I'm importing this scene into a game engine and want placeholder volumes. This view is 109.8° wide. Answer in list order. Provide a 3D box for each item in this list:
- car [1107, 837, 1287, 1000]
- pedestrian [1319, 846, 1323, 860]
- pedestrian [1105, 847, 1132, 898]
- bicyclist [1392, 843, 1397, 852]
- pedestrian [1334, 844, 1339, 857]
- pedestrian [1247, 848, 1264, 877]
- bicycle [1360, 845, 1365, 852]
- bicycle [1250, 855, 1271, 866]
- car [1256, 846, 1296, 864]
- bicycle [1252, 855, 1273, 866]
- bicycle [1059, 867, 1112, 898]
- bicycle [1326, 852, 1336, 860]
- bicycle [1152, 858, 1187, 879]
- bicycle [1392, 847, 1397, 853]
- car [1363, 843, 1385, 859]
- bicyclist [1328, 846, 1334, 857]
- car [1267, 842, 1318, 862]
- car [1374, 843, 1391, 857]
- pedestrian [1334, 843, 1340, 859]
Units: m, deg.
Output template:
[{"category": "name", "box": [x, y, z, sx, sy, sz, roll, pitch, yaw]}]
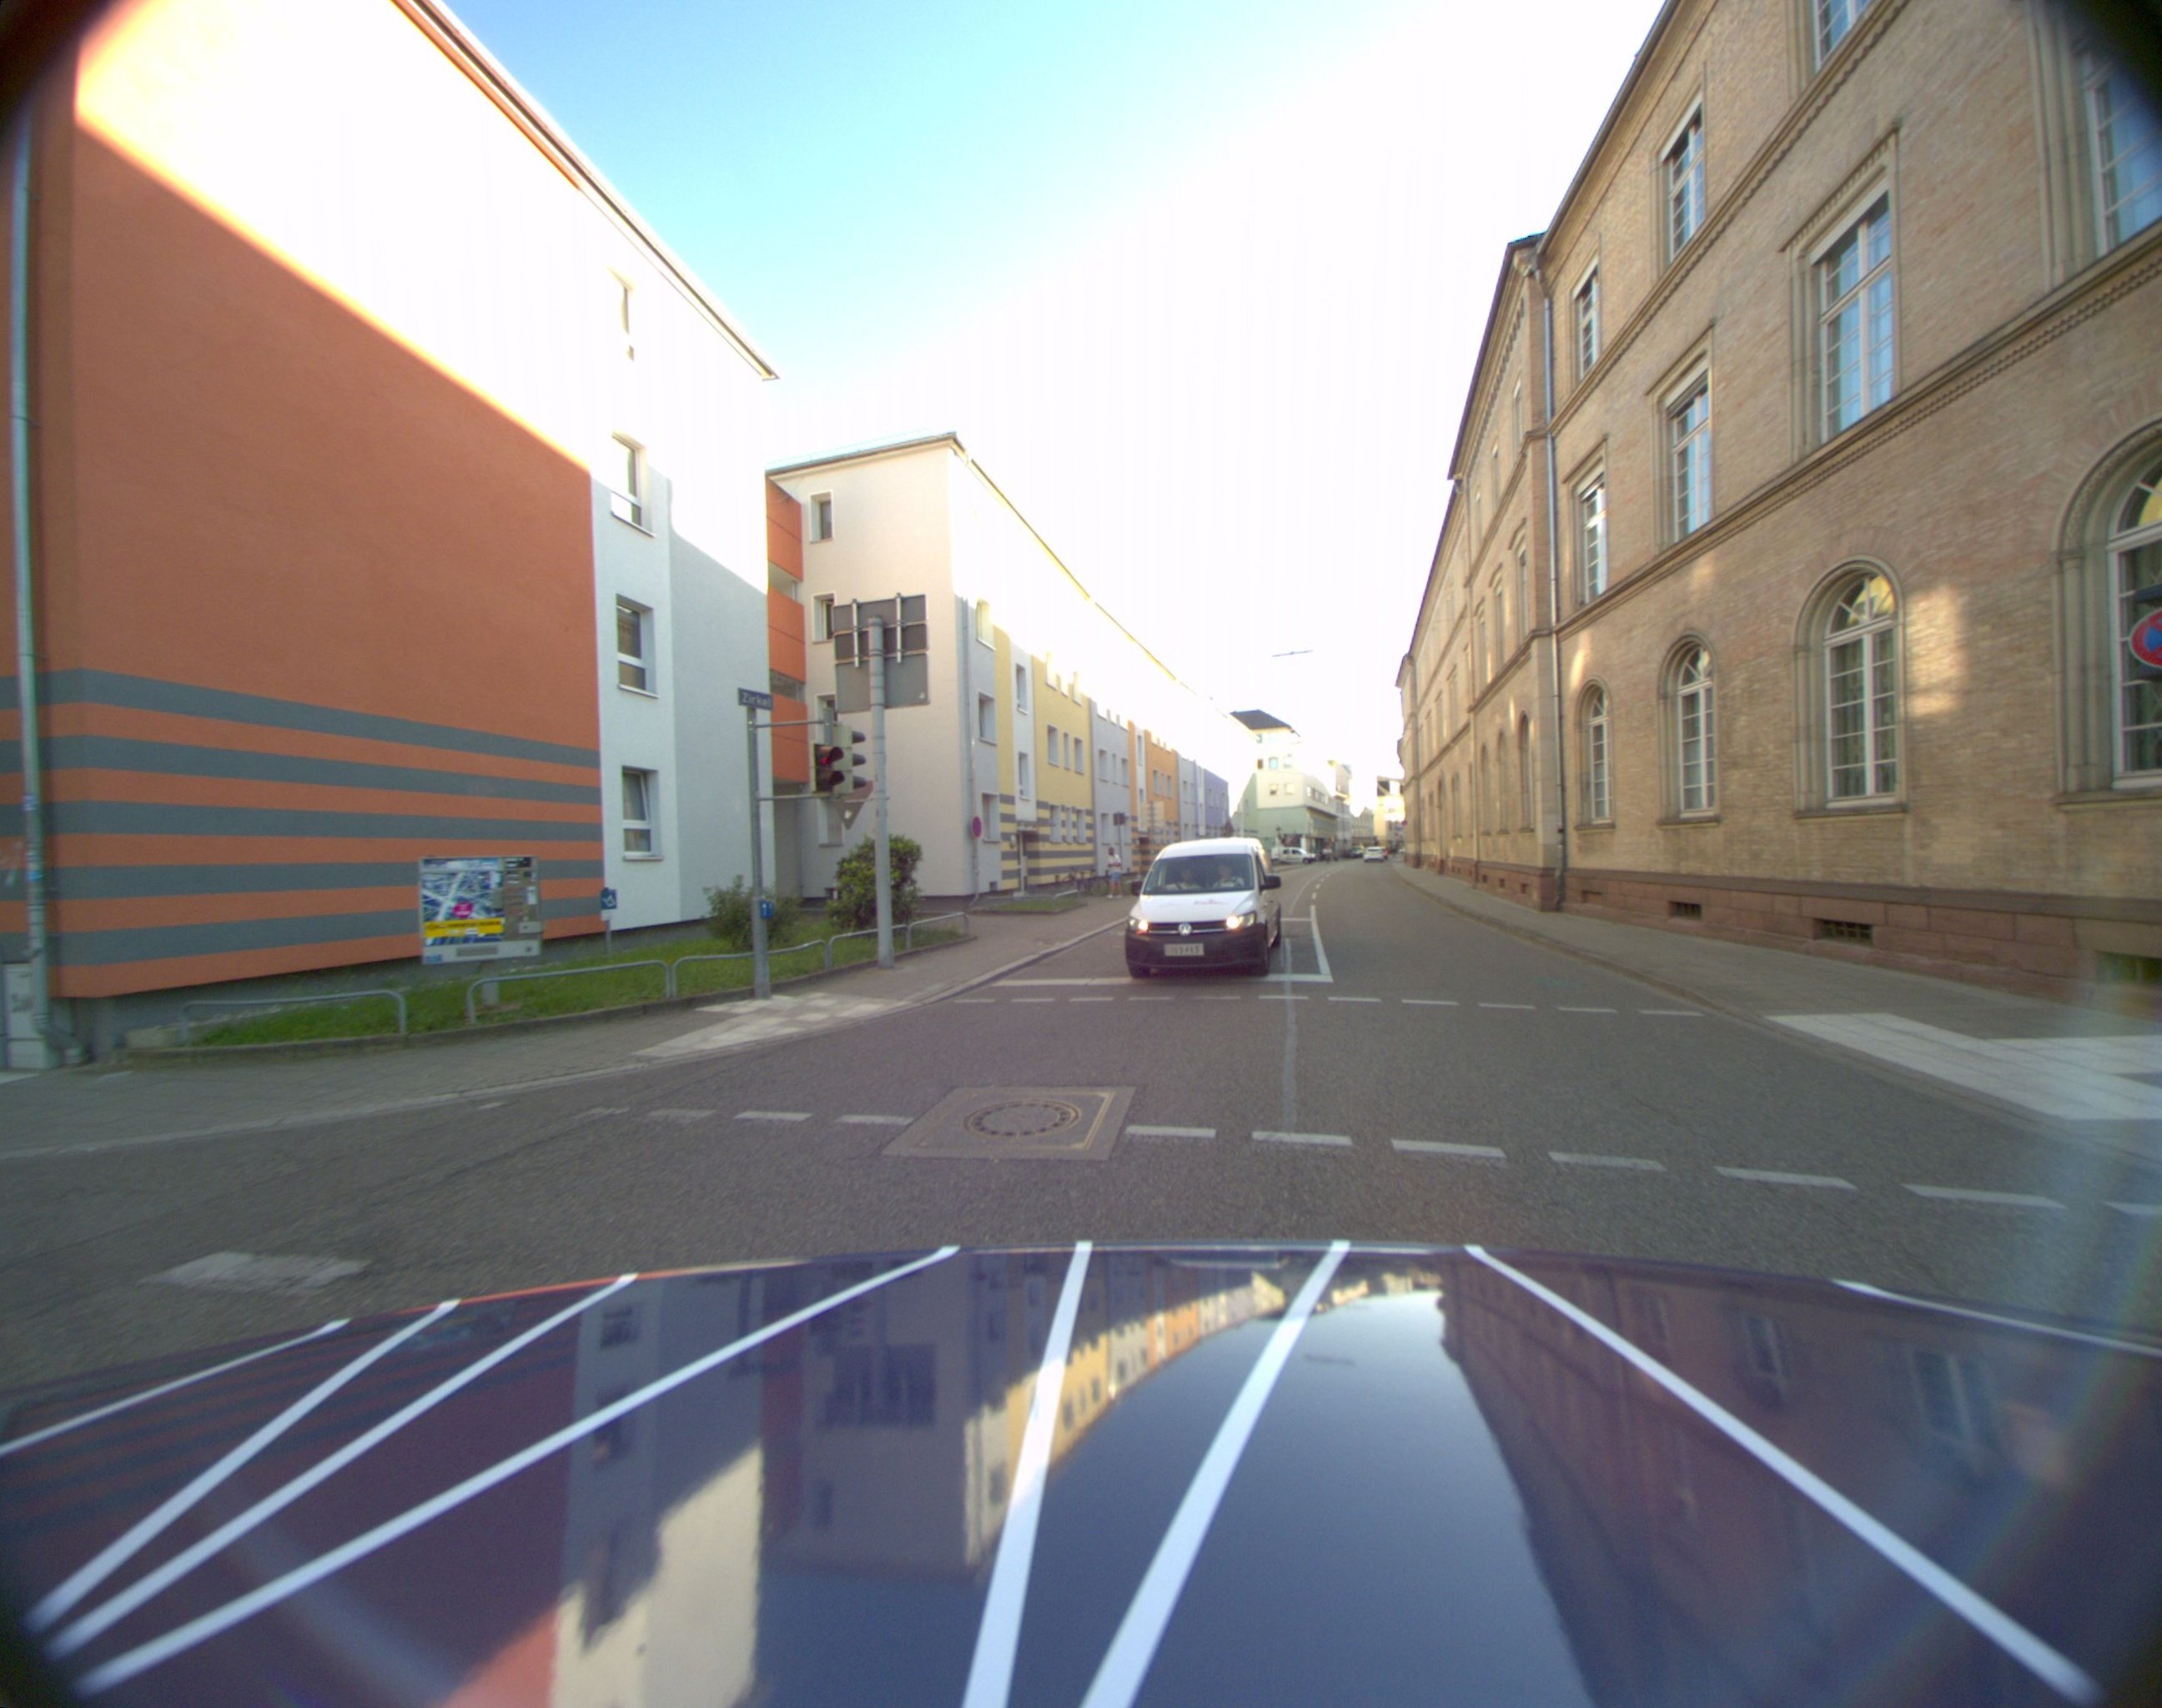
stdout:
[{"category": "car", "box": [2.005, 0.725, 11.338, 1.817, 1.825, 5.347, -2, 0, 17]}, {"category": "pedestrian", "box": [28.281, -0.127, 89.546, 0.371, 1.546, 0.404, -2, 1, 22]}, {"category": "pedestrian", "box": [1.243, 0.591, 25.133, 0.643, 1.662, 0.835, -1, 1, 19]}, {"category": "bicyclist", "box": [47.705, -1.004, 115.626, 0.603, 1.434, 0.579, -2, 1, 21]}, {"category": "pedestrian", "box": [30.847, -0.376, 91.622, 0.508, 1.551, 0.412, -2, 1, 21]}, {"category": "pedestrian", "box": [9.814, 0.462, 42.818, 0.767, 1.610, 0.935, -2, 1, 20]}, {"category": "bicycle", "box": [44.586, -0.808, 120.299, 0.548, 1.076, 1.966, -2, 0, 22]}, {"category": "bicycle", "box": [15.879, 0.557, 67.284, 1.773, 0.934, 0.584, 0, 2, 24]}, {"category": "car", "box": [21.507, 0.159, 83.785, 3.991, 1.681, 1.903, -4, 1, 21]}, {"category": "bicycle", "box": [16.393, 0.565, 68.737, 1.773, 0.934, 0.584, 0, 2, 24]}, {"category": "bicycle", "box": [0.167, 1.005, 26.729, 1.774, 1.043, 0.584, 0, 2, 12]}, {"category": "bicycle", "box": [24.249, 0.207, 73.672, 1.119, 0.719, 0.347, -2, 1, -39]}, {"category": "bicycle", "box": [4.699, 0.770, 40.349, 1.774, 1.118, 0.584, 0, 2, 15]}, {"category": "bicycle", "box": [47.716, -0.613, 115.612, 0.608, 0.922, 2.267, -2, 0, 21]}, {"category": "car", "box": [29.544, -0.313, 76.552, 1.888, 1.467, 4.552, 0, 1, 24]}, {"category": "bicyclist", "box": [24.234, -0.228, 73.672, 0.368, 1.101, 0.347, -2, 1, -39]}, {"category": "car", "box": [22.144, -0.190, 79.567, 4.757, 1.927, 2.003, -2, 0, 25]}, {"category": "car", "box": [35.837, -0.486, 90.302, 1.686, 1.573, 4.281, 0, 1, 24]}, {"category": "pedestrian", "box": [29.968, -0.349, 88.941, 0.508, 1.752, 0.412, -2, 1, 21]}]
